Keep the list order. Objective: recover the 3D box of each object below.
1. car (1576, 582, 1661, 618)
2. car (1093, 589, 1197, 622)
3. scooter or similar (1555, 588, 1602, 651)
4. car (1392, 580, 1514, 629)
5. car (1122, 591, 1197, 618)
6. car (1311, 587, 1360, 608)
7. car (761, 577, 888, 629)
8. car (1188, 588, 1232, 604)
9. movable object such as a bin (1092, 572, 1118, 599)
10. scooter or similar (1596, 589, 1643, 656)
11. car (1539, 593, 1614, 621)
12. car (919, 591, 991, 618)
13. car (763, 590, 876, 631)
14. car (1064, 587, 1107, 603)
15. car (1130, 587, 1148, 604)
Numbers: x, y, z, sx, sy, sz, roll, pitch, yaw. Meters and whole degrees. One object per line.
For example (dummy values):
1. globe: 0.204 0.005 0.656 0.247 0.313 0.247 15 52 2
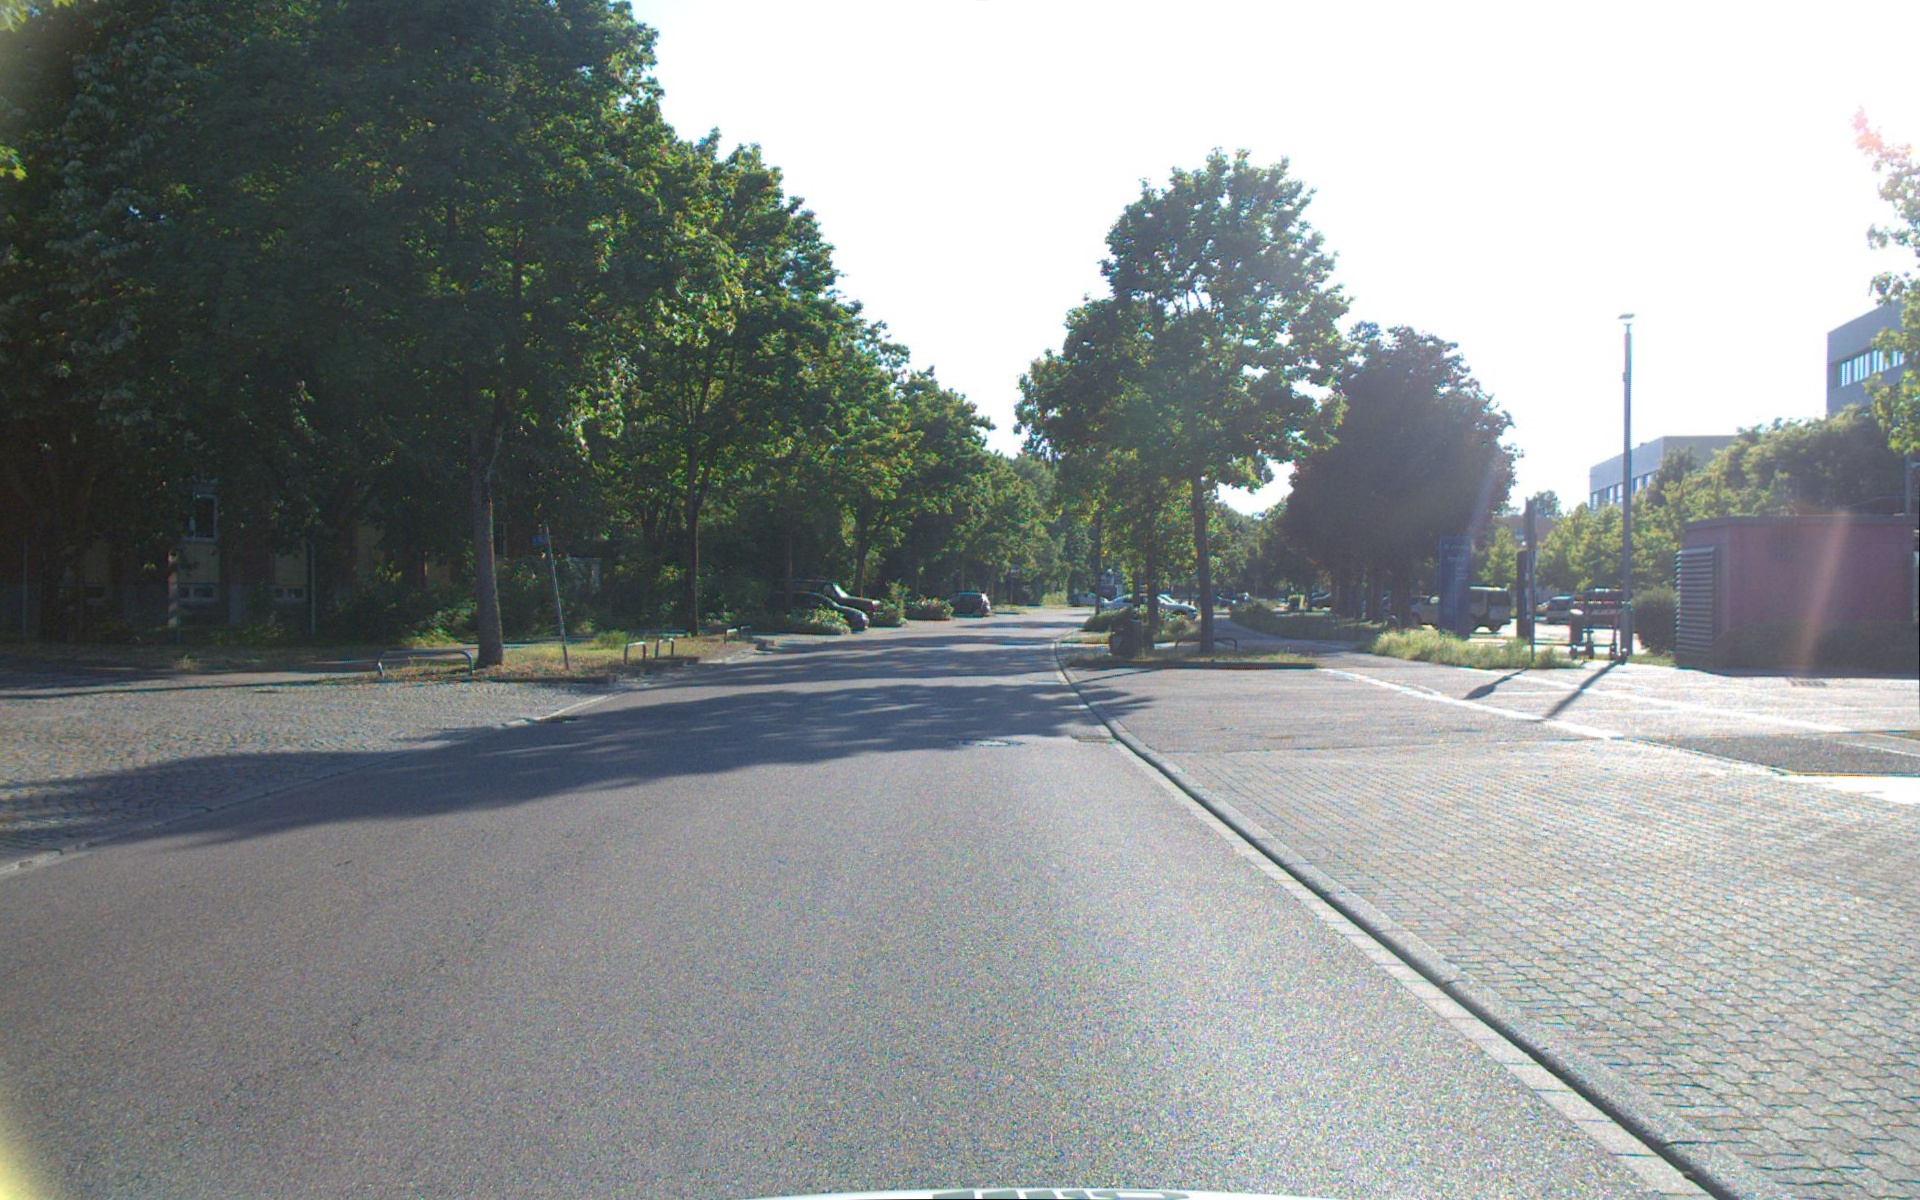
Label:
1. car: 32.747 -0.021 82.263 4.441 1.780 1.747 0 1 -34
2. car: 9.213 0.264 82.615 5.065 1.601 2.159 0 0 6
3. scooter or similar: 12.894 0.401 34.510 0.509 1.294 1.388 0 0 2
4. car: 21.162 0.154 71.130 1.977 1.967 4.894 0 1 -35
5. car: 12.393 0.286 102.744 4.267 1.505 2.001 -2 -1 18
6. car: 35.539 -0.248 156.647 4.335 1.735 2.061 2 0 10
7. car: -5.522 0.115 67.747 4.899 2.055 2.176 0 0 4
8. car: 27.790 -0.434 183.712 4.739 1.505 2.002 3 1 12
9. movable object such as a bin: 16.652 -1.665 189.506 2.778 3.122 4.931 0 0 7
10. scooter or similar: 13.066 0.436 32.796 0.509 1.294 1.201 0 0 2
11. car: 34.692 0.376 93.087 4.246 1.554 1.749 0 1 -31
12. car: -0.297 0.277 104.809 4.266 1.505 2.002 2 1 8
13. car: -5.403 0.386 63.979 4.123 1.557 1.706 0 0 4
14. car: 13.441 -0.556 176.958 4.266 1.574 2.002 3 1 12
15. car: 25.730 -0.632 238.052 2.463 2.428 4.375 0 0 4
